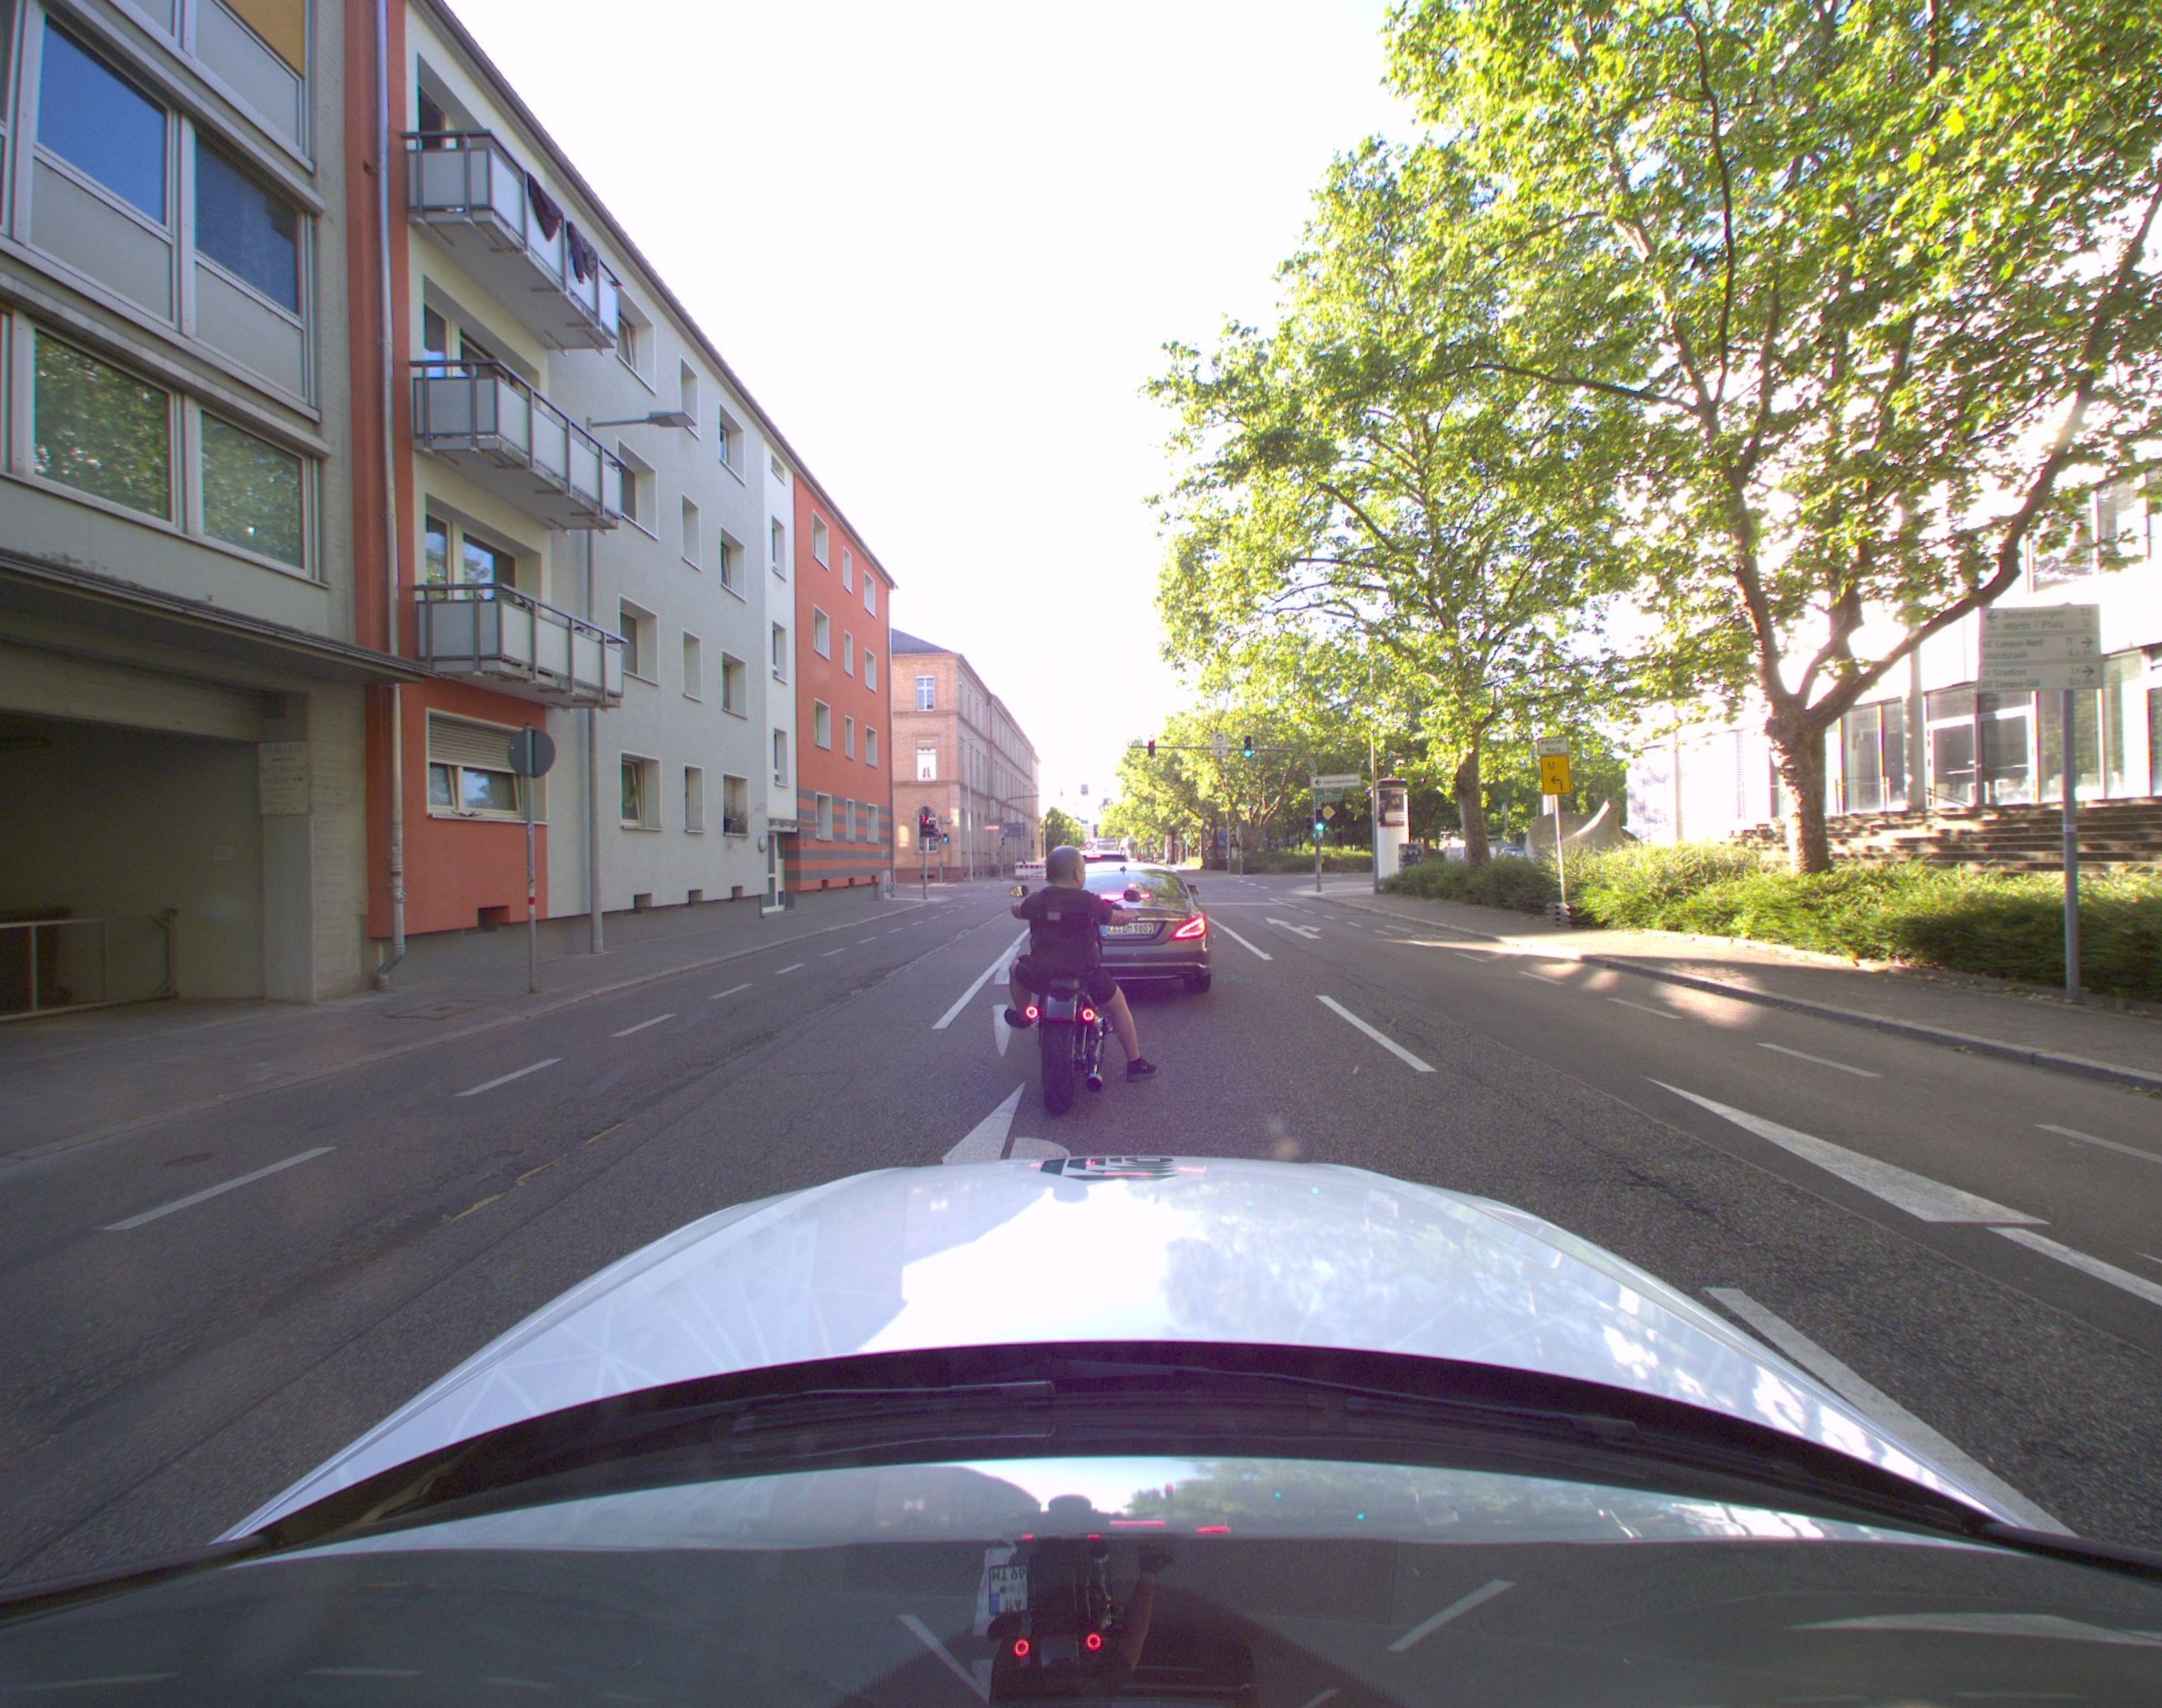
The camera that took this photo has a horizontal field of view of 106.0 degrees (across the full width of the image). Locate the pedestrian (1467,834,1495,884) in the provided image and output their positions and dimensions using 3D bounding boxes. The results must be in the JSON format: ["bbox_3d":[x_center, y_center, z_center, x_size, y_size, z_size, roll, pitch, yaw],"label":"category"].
[{"bbox_3d":[14.554,0.176,29.636,0.731,1.778,0.731,-1,-1,10],"label":"pedestrian"}]

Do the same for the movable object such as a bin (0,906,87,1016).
[{"bbox_3d":[-11.280,1.115,8.648,0.533,1.079,0.723,0,-1,3],"label":"movable object such as a bin"}]

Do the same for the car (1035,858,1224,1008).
[{"bbox_3d":[0.524,0.777,9.780,1.815,1.437,3.807,0,-1,2],"label":"car"}]

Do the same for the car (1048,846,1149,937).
[{"bbox_3d":[0.385,0.708,17.068,1.856,1.678,4.001,0,-1,2],"label":"car"}]

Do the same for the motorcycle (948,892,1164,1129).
[{"bbox_3d":[-0.038,0.909,5.623,1.111,1.207,2.217,-1,-1,8],"label":"motorcycle"}]

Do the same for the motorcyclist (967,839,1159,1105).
[{"bbox_3d":[-0.066,0.702,5.404,1.093,1.566,1.074,-1,-1,8],"label":"motorcyclist"}]
